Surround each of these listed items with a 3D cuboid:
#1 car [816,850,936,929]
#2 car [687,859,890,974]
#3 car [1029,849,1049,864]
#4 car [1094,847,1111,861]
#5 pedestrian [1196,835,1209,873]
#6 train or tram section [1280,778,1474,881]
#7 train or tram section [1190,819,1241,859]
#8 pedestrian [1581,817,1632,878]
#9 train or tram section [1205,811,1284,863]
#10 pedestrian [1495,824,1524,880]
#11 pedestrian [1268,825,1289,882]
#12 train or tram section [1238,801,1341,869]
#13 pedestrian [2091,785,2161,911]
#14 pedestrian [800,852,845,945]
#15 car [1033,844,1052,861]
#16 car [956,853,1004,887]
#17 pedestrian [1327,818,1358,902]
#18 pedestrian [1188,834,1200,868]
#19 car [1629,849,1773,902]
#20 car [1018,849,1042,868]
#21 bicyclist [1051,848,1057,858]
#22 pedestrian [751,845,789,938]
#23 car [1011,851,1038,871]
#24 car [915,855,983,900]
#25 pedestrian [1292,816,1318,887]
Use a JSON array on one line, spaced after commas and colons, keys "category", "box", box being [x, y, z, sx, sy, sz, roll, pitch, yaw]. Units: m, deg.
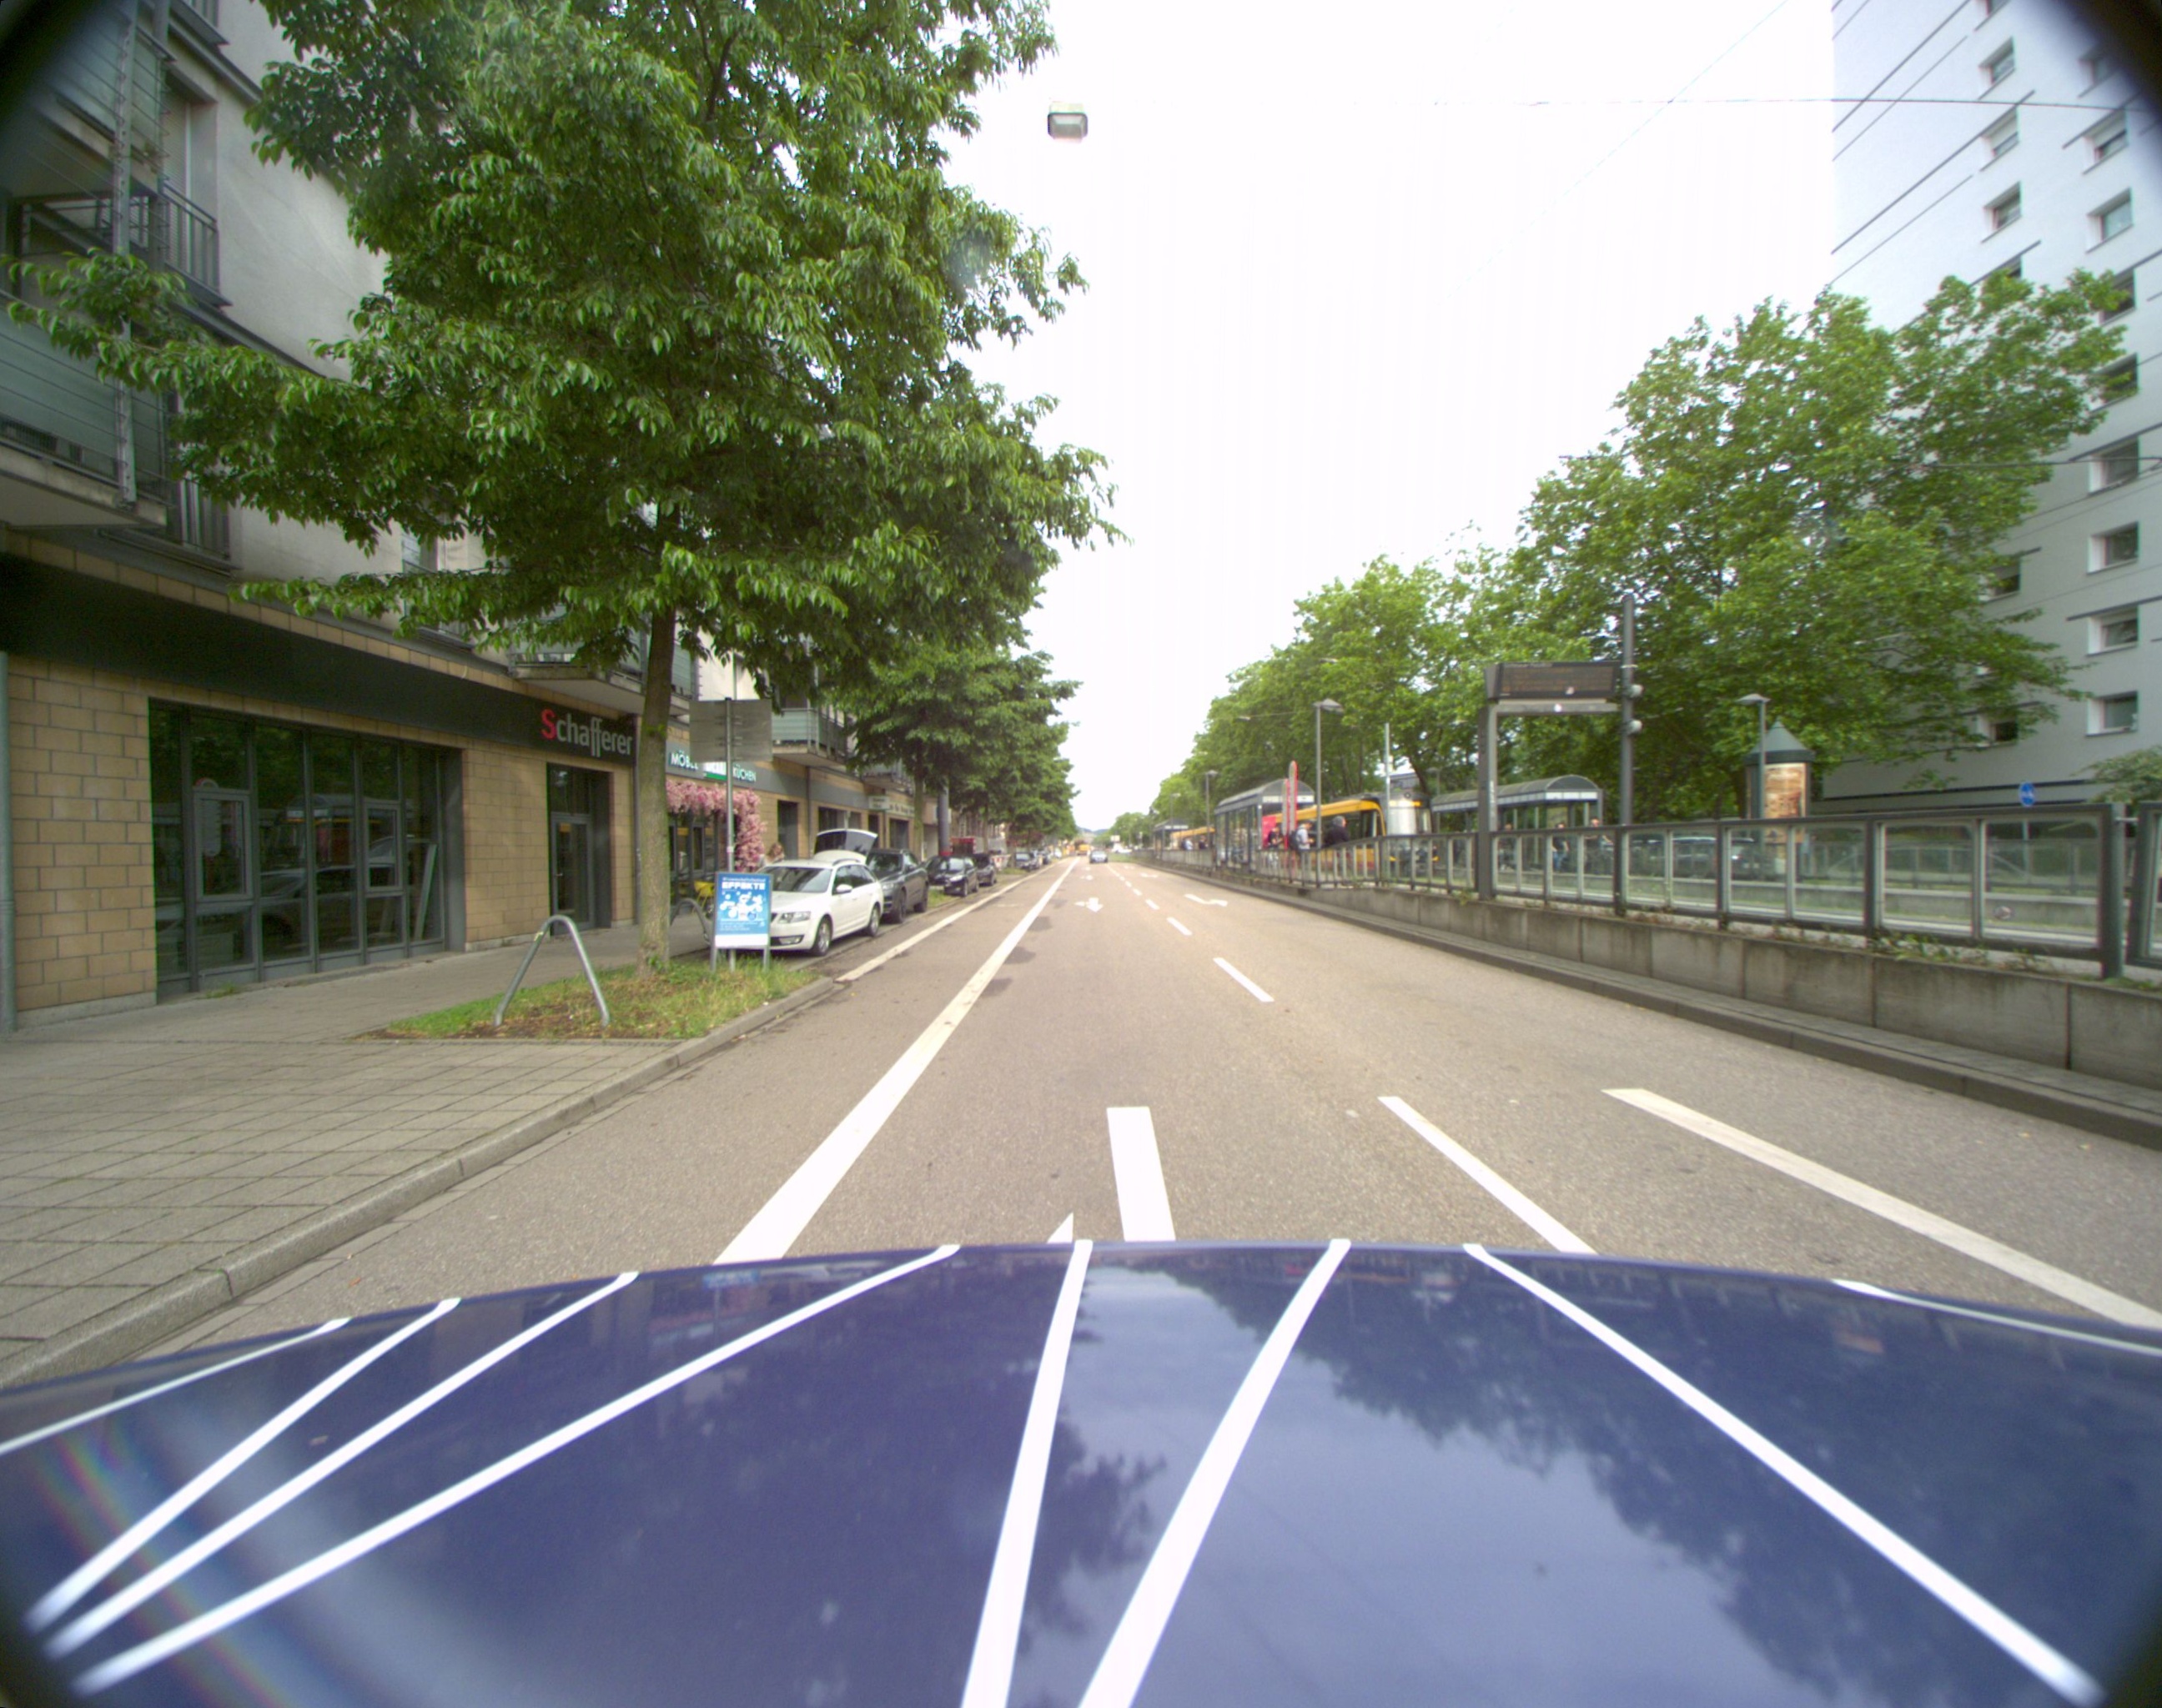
[{"category": "car", "box": [-4.719, 0.742, 18.019, 1.738, 1.601, 3.798, 2, 1, 1]}, {"category": "car", "box": [-4.723, 0.901, 13.016, 1.738, 1.512, 4.308, 2, 1, 1]}, {"category": "car", "box": [-3.973, 0.211, 72.466, 1.612, 1.393, 3.667, 2, 1, 1]}, {"category": "car", "box": [2.246, -0.029, 80.339, 1.716, 1.379, 4.099, -2, 1, 1]}, {"category": "pedestrian", "box": [5.844, 0.003, 36.539, 0.530, 1.794, 0.606, -2, 1, 14]}, {"category": "train or tram section", "box": [13.032, -1.001, 35.917, 3.338, 3.731, 15.201, -2, 1, 1]}, {"category": "train or tram section", "box": [13.570, -1.491, 77.844, 3.338, 3.731, 11.042, -2, 1, 1]}, {"category": "pedestrian", "box": [15.551, -0.184, 22.487, 0.882, 1.746, 0.850, -2, 1, 1]}, {"category": "train or tram section", "box": [13.385, -1.331, 64.185, 3.338, 3.731, 16.247, -2, 1, 1]}, {"category": "pedestrian", "box": [15.279, -0.072, 27.110, 0.699, 1.919, 0.554, -2, 1, 1]}, {"category": "pedestrian", "box": [6.309, -0.024, 24.215, 0.474, 1.794, 0.606, -2, 1, 26]}, {"category": "train or tram section", "box": [13.225, -1.163, 49.775, 3.338, 3.731, 12.547, -2, 1, 1]}, {"category": "pedestrian", "box": [15.289, -0.096, 10.883, 0.738, 1.740, 0.666, -2, 1, 1]}, {"category": "pedestrian", "box": [-5.289, 0.897, 15.583, 0.656, 1.873, 0.599, -1, 1, 1]}, {"category": "car", "box": [-3.967, -0.139, 78.237, 1.612, 1.674, 3.806, 2, 1, 1]}, {"category": "car", "box": [-4.560, 0.685, 34.752, 1.612, 1.393, 3.667, 2, 1, 1]}, {"category": "pedestrian", "box": [5.702, 0.123, 16.595, 0.521, 1.794, 0.605, -2, 1, 13]}, {"category": "pedestrian", "box": [6.137, -0.174, 41.356, 0.530, 1.794, 0.606, -2, 1, 14]}, {"category": "car", "box": [18.451, 0.594, 22.785, 1.582, 1.420, 3.218, -1, 1, -3]}, {"category": "car", "box": [-4.128, 0.366, 62.180, 1.612, 1.393, 3.667, 2, 1, 1]}, {"category": "bicyclist", "box": [-4.034, -0.169, 113.917, 0.726, 1.458, 0.812, -1, 1, -9]}, {"category": "pedestrian", "box": [-5.936, 0.691, 14.501, 0.618, 1.707, 0.736, 0, 1, -26]}, {"category": "car", "box": [-4.168, 0.480, 56.281, 1.612, 1.393, 3.667, 2, 1, 1]}, {"category": "car", "box": [-4.641, 0.795, 27.291, 1.612, 1.369, 4.167, 2, 1, 1]}, {"category": "pedestrian", "box": [5.751, -0.061, 19.563, 0.475, 1.794, 0.605, -2, 1, 5]}]
